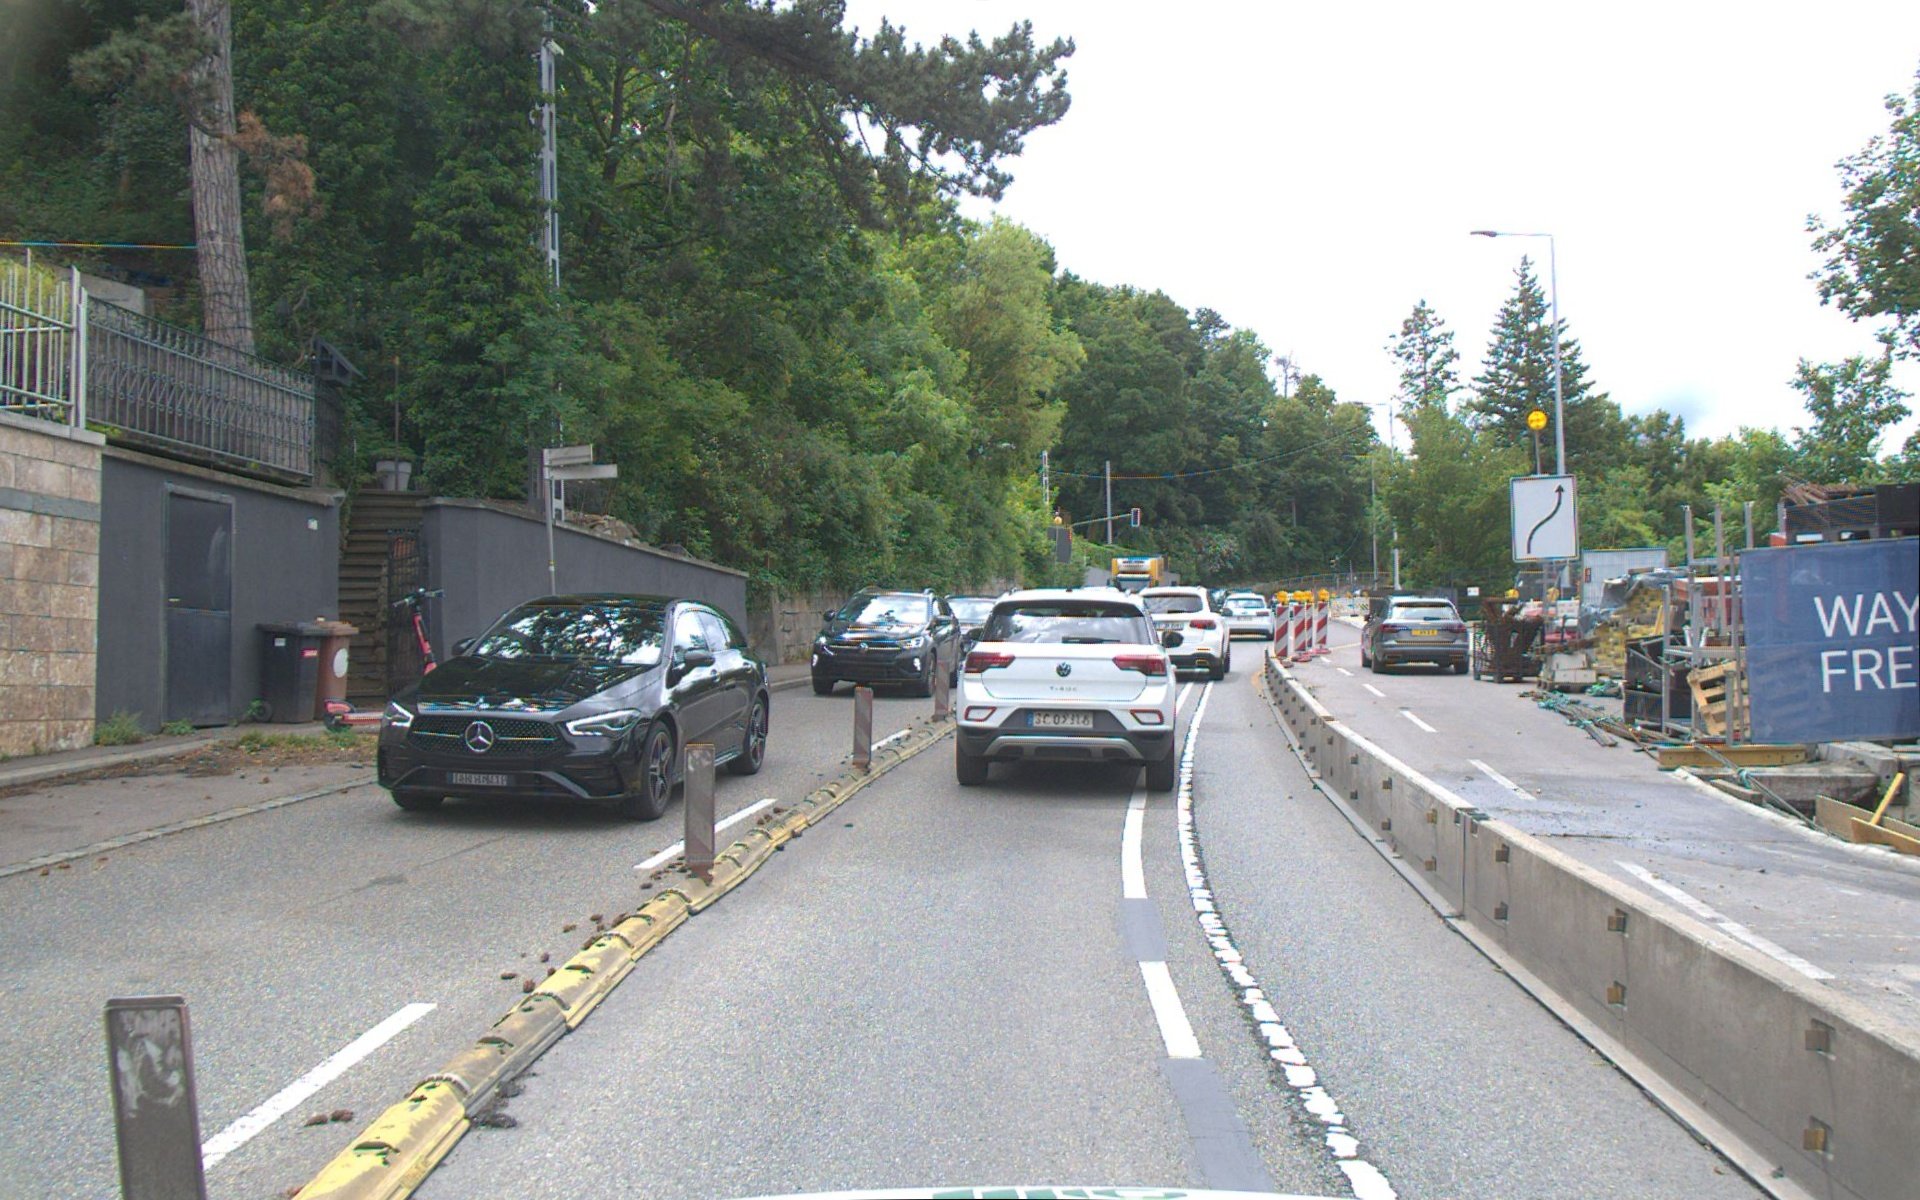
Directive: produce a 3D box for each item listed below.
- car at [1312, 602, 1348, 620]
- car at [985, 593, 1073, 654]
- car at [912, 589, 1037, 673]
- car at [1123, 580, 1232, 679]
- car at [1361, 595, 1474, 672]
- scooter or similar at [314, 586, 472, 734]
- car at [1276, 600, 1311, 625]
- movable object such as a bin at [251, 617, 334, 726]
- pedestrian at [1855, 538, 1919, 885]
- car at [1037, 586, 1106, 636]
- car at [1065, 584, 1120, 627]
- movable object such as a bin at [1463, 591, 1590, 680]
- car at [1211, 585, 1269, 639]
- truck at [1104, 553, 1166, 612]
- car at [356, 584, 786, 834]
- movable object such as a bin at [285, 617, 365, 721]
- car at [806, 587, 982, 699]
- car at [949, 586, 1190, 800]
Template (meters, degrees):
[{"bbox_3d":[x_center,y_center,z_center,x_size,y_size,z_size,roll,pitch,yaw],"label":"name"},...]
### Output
[{"bbox_3d":[29.420,0.829,131.377,1.760,1.392,3.994,0,0,28],"label":"car"},{"bbox_3d":[1.871,0.586,43.496,1.730,1.477,4.312,2,0,10],"label":"car"},{"bbox_3d":[0.358,0.563,32.375,1.730,1.477,4.312,2,0,10],"label":"car"},{"bbox_3d":[4.051,0.492,30.350,1.771,1.692,4.004,-1,0,11],"label":"car"},{"bbox_3d":[8.813,0.603,32.130,1.756,1.392,4.003,0,0,10],"label":"car"},{"bbox_3d":[-4.989,0.519,14.604,1.288,1.277,0.465,1,0,-18],"label":"scooter or similar"},{"bbox_3d":[18.702,0.700,92.778,1.756,1.392,4.003,0,0,9],"label":"car"},{"bbox_3d":[-6.238,0.657,15.465,0.537,0.994,0.510,0,-1,10],"label":"movable object such as a bin"},{"bbox_3d":[5.563,0.597,9.026,0.858,1.854,0.878,0,0,-4],"label":"pedestrian"},{"bbox_3d":[3.609,0.345,52.907,1.730,1.477,4.312,2,0,10],"label":"car"},{"bbox_3d":[4.877,0.185,60.486,1.730,1.477,4.312,2,0,8],"label":"car"},{"bbox_3d":[9.588,0.585,28.089,1.367,1.450,1.904,0,0,-6],"label":"movable object such as a bin"},{"bbox_3d":[9.187,0.375,54.049,1.771,1.692,4.004,-1,0,11],"label":"car"},{"bbox_3d":[10.067,-0.956,94.512,2.842,3.210,7.590,0,0,11],"label":"truck"},{"bbox_3d":[-2.613,0.656,12.240,1.730,1.460,4.312,2,0,6],"label":"car"},{"bbox_3d":[-6.146,0.659,16.014,0.537,0.994,0.510,0,-1,10],"label":"movable object such as a bin"},{"bbox_3d":[-0.884,0.591,24.823,1.730,1.477,4.312,2,0,10],"label":"car"},{"bbox_3d":[1.025,0.681,14.303,1.771,1.558,4.003,1,0,6],"label":"car"}]
